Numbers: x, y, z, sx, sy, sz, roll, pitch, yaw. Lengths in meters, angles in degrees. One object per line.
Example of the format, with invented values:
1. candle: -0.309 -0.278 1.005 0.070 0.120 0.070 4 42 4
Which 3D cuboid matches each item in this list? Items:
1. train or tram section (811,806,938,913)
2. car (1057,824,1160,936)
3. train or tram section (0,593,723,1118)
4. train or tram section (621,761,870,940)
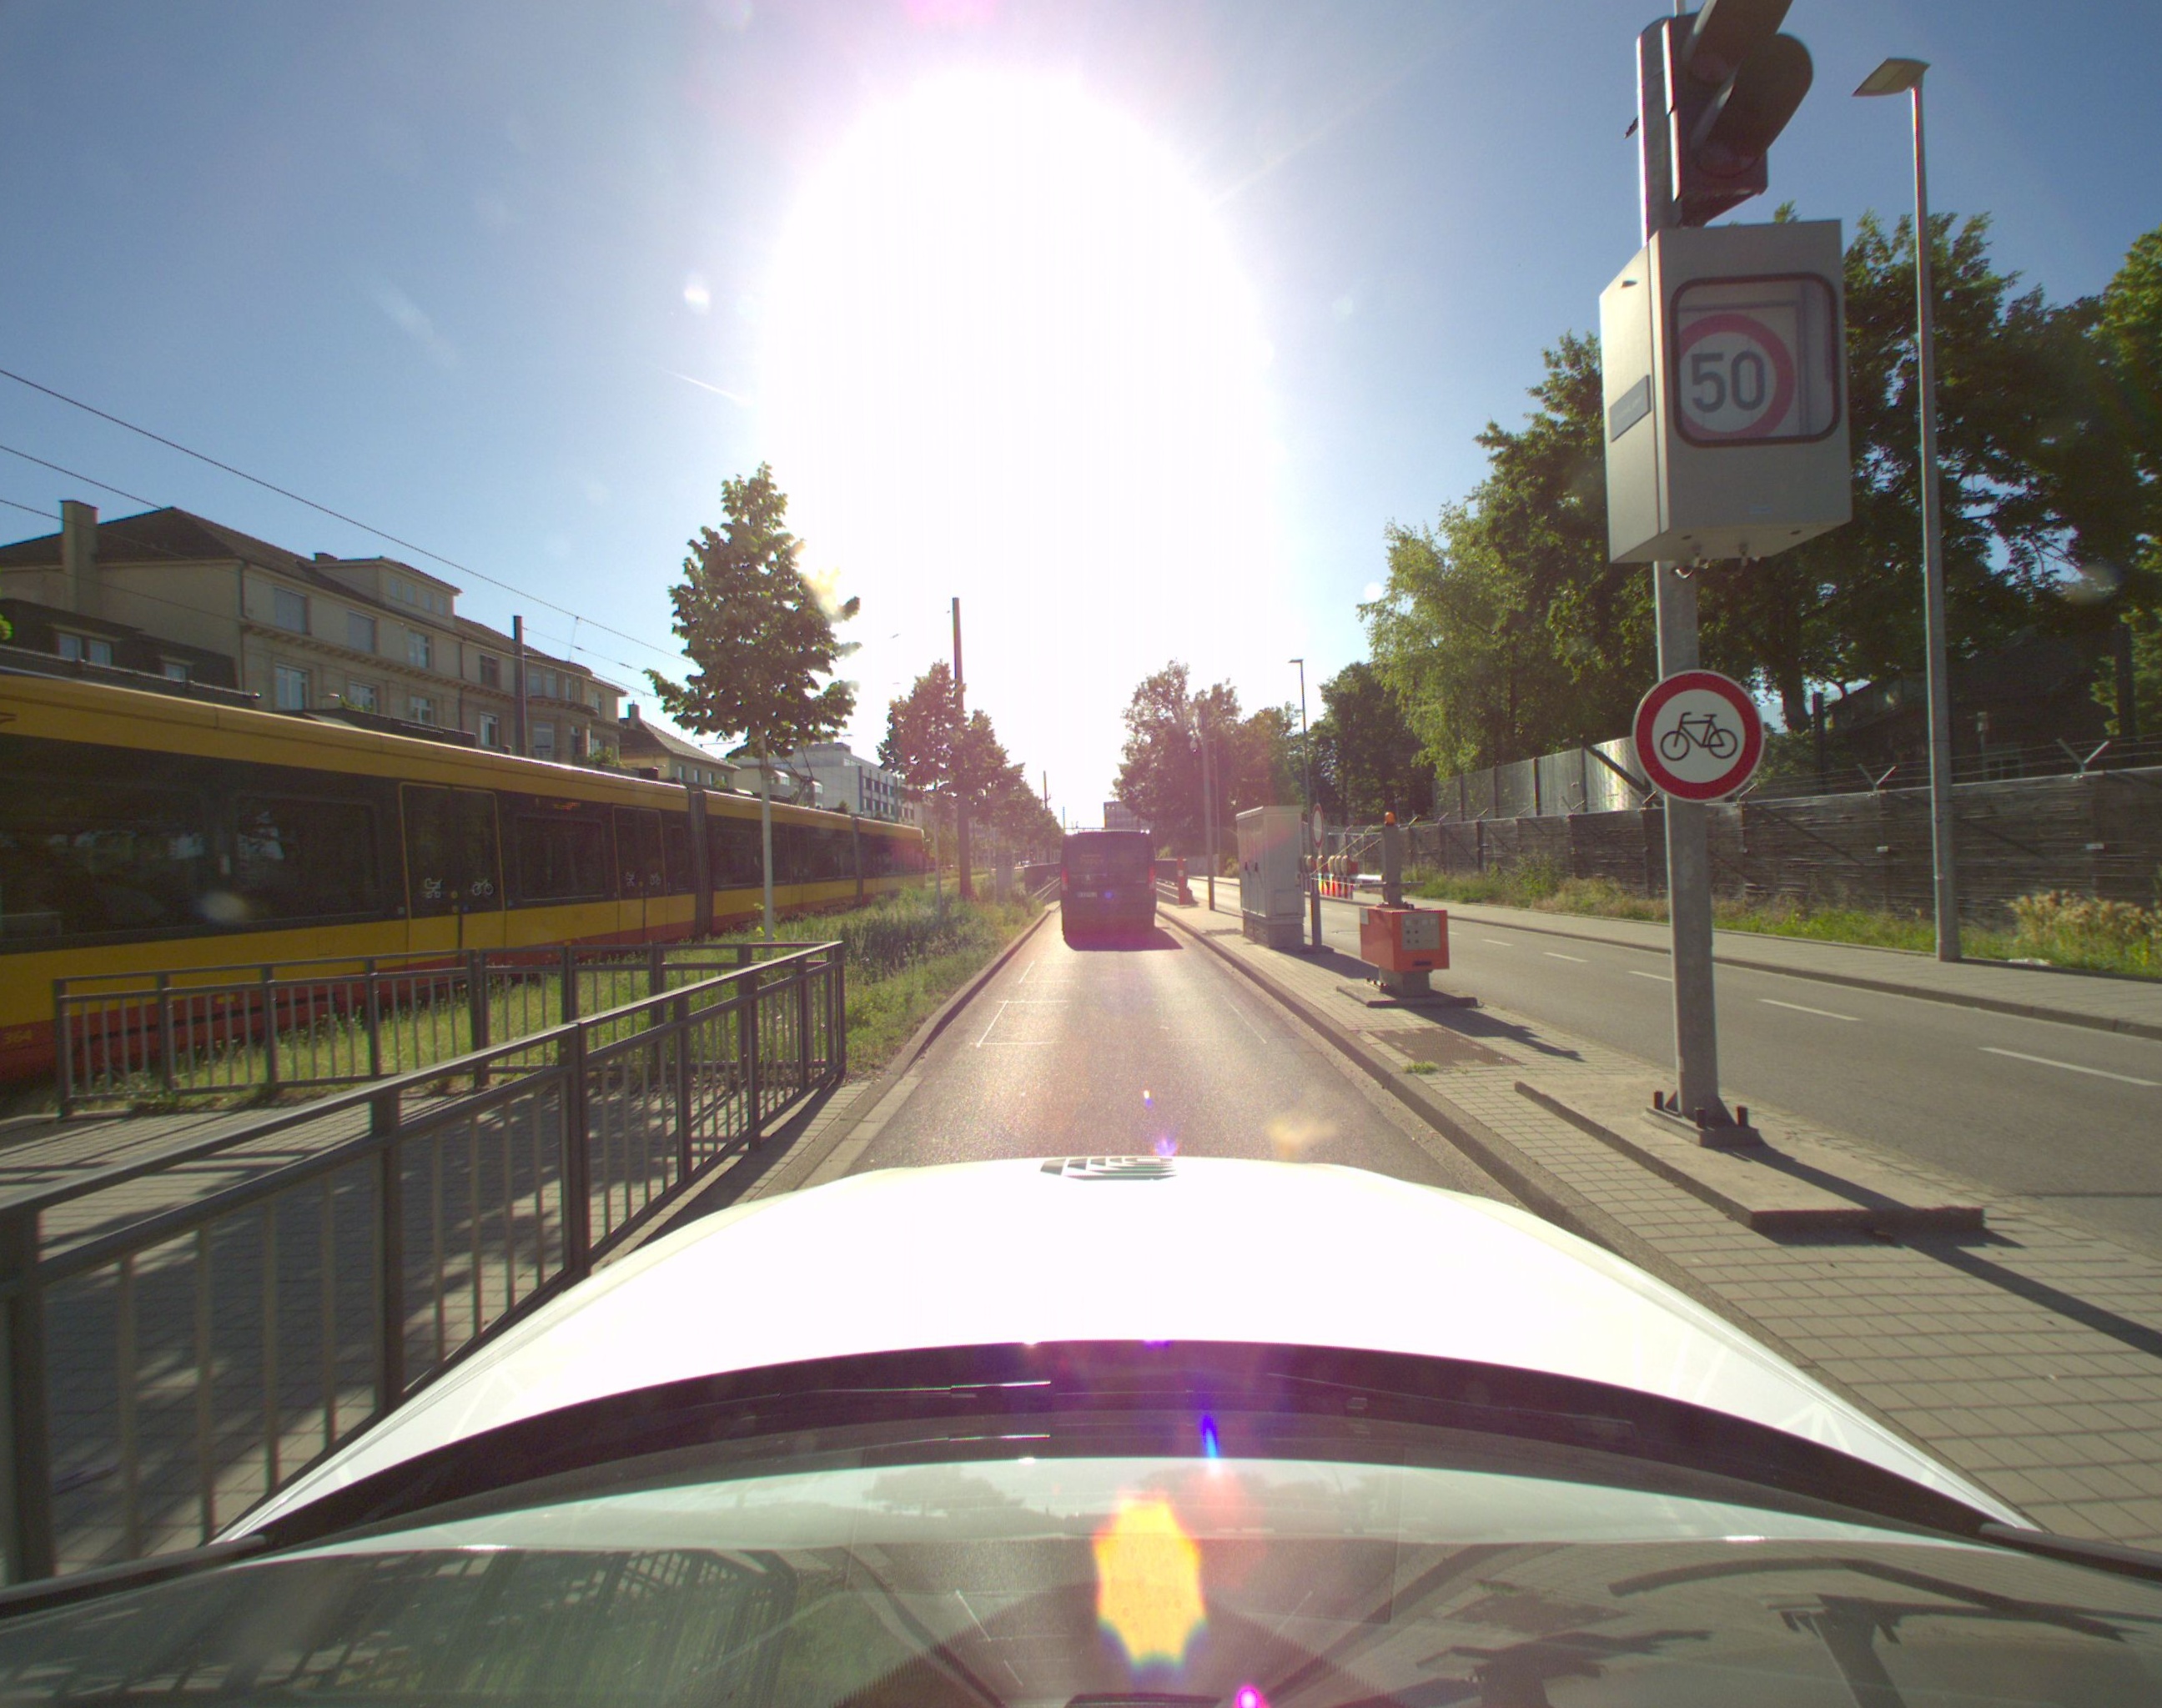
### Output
1. train or tram section: -8.145 0.247 33.961 1.986 3.669 11.686 -1 -1 1
2. car: 0.588 0.546 18.738 2.075 2.249 4.000 -1 -1 1
3. train or tram section: -8.513 0.066 9.825 1.987 3.669 14.150 -1 -1 0
4. train or tram section: -8.403 -0.022 22.506 1.987 3.669 11.316 -1 -1 1
